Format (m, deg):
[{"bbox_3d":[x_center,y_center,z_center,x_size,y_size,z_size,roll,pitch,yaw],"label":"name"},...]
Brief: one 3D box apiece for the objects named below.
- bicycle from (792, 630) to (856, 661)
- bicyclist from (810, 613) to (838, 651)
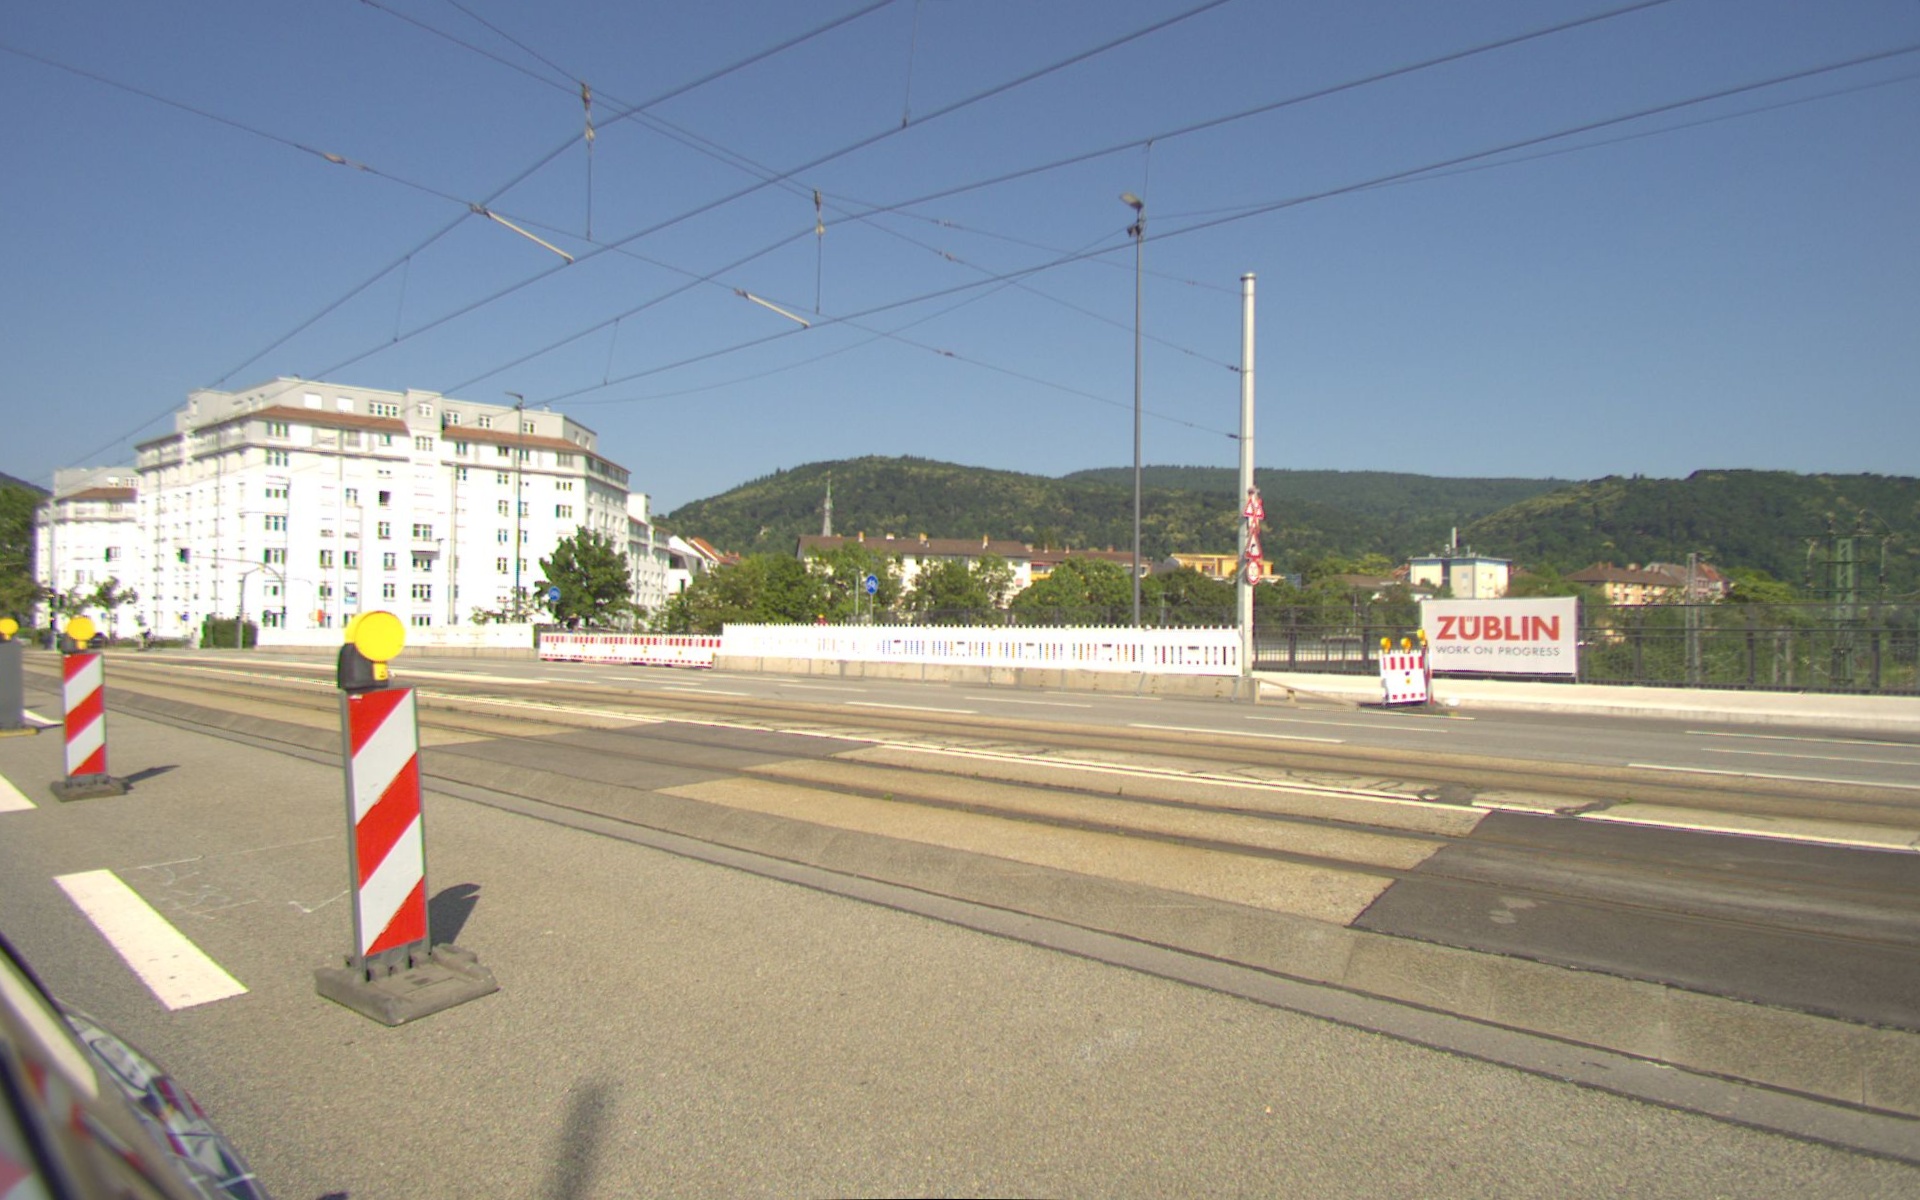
[{"bbox_3d":[-5.677,1.881,42.164,3.070,1.204,0.847,-1,-1,41],"label":"bicycle"},{"bbox_3d":[-5.659,1.330,42.148,0.817,1.530,0.847,-1,-1,41],"label":"bicyclist"}]
